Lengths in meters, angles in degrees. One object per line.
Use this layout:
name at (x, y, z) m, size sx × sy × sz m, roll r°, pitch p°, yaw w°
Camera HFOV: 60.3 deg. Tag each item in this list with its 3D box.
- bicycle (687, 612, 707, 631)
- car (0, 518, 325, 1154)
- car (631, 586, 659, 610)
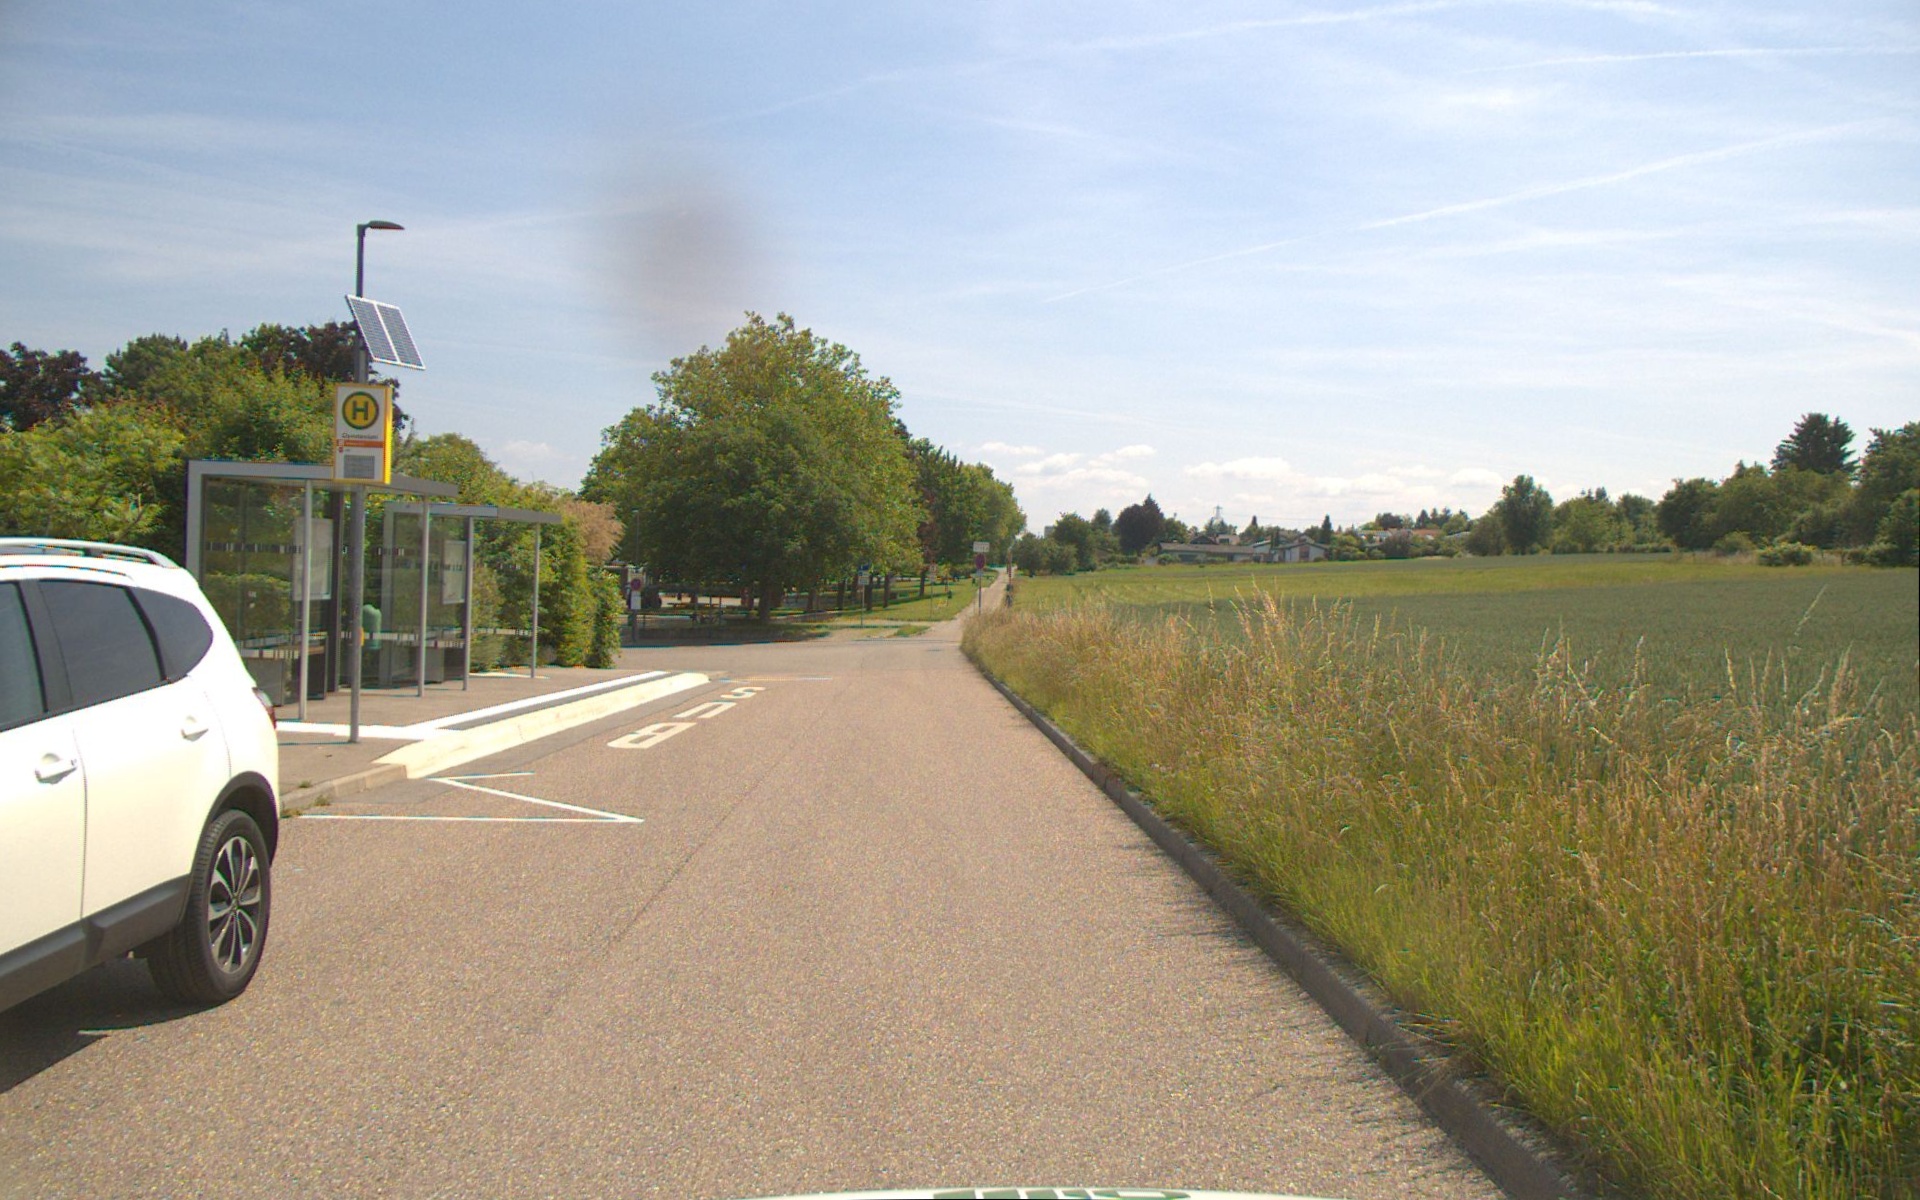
bicycle at (-15.184, 1.223, 95.589) m, size 0.582 × 1.057 × 1.894 m, roll -1°, pitch 1°, yaw 9°
car at (-3.364, 0.609, 4.575) m, size 1.699 × 1.662 × 4.350 m, roll 1°, pitch 0°, yaw -3°
car at (-25.606, -0.181, 134.583) m, size 1.656 × 1.867 × 3.410 m, roll 0°, pitch 0°, yaw -1°
